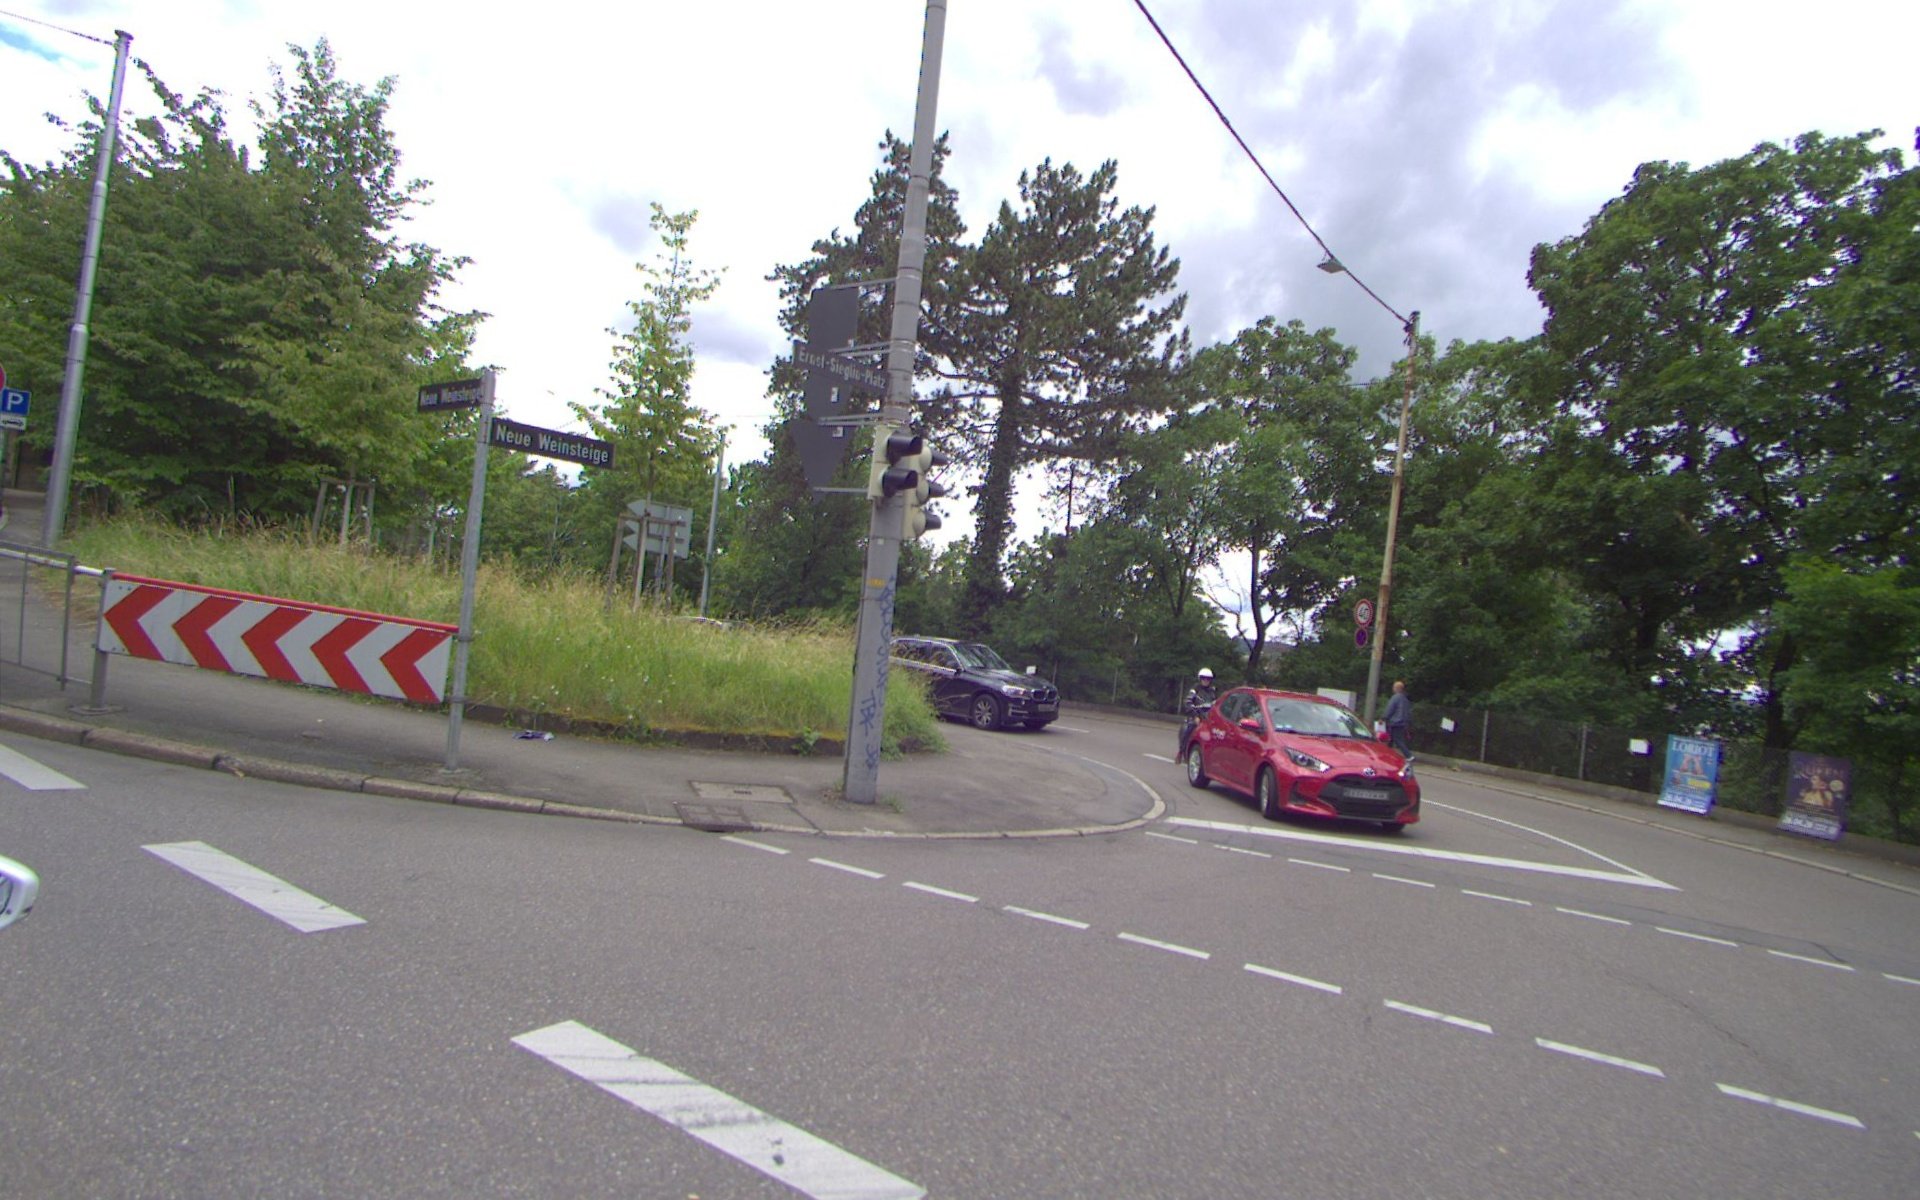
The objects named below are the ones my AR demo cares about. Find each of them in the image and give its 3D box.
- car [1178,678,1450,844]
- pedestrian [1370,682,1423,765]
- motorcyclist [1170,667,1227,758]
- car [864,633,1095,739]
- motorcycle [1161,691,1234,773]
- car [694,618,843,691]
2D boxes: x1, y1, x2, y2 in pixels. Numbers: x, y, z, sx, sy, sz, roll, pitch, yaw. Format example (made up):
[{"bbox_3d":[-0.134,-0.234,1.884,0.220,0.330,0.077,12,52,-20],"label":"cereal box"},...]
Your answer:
[{"bbox_3d":[4.293,1.913,12.903,1.643,1.485,3.955,6,-2,-6],"label":"car"},{"bbox_3d":[9.210,2.584,21.214,0.663,1.651,0.680,2,1,-29],"label":"pedestrian"},{"bbox_3d":[4.120,1.926,17.420,0.591,1.448,0.756,5,1,-8],"label":"motorcyclist"},{"bbox_3d":[0.354,1.773,21.469,4.606,1.697,1.814,4,-2,35],"label":"car"},{"bbox_3d":[4.093,2.262,17.443,0.590,1.167,1.579,5,0,-8],"label":"motorcycle"},{"bbox_3d":[-5.111,1.407,26.577,3.947,1.502,1.714,4,-3,42],"label":"car"}]
